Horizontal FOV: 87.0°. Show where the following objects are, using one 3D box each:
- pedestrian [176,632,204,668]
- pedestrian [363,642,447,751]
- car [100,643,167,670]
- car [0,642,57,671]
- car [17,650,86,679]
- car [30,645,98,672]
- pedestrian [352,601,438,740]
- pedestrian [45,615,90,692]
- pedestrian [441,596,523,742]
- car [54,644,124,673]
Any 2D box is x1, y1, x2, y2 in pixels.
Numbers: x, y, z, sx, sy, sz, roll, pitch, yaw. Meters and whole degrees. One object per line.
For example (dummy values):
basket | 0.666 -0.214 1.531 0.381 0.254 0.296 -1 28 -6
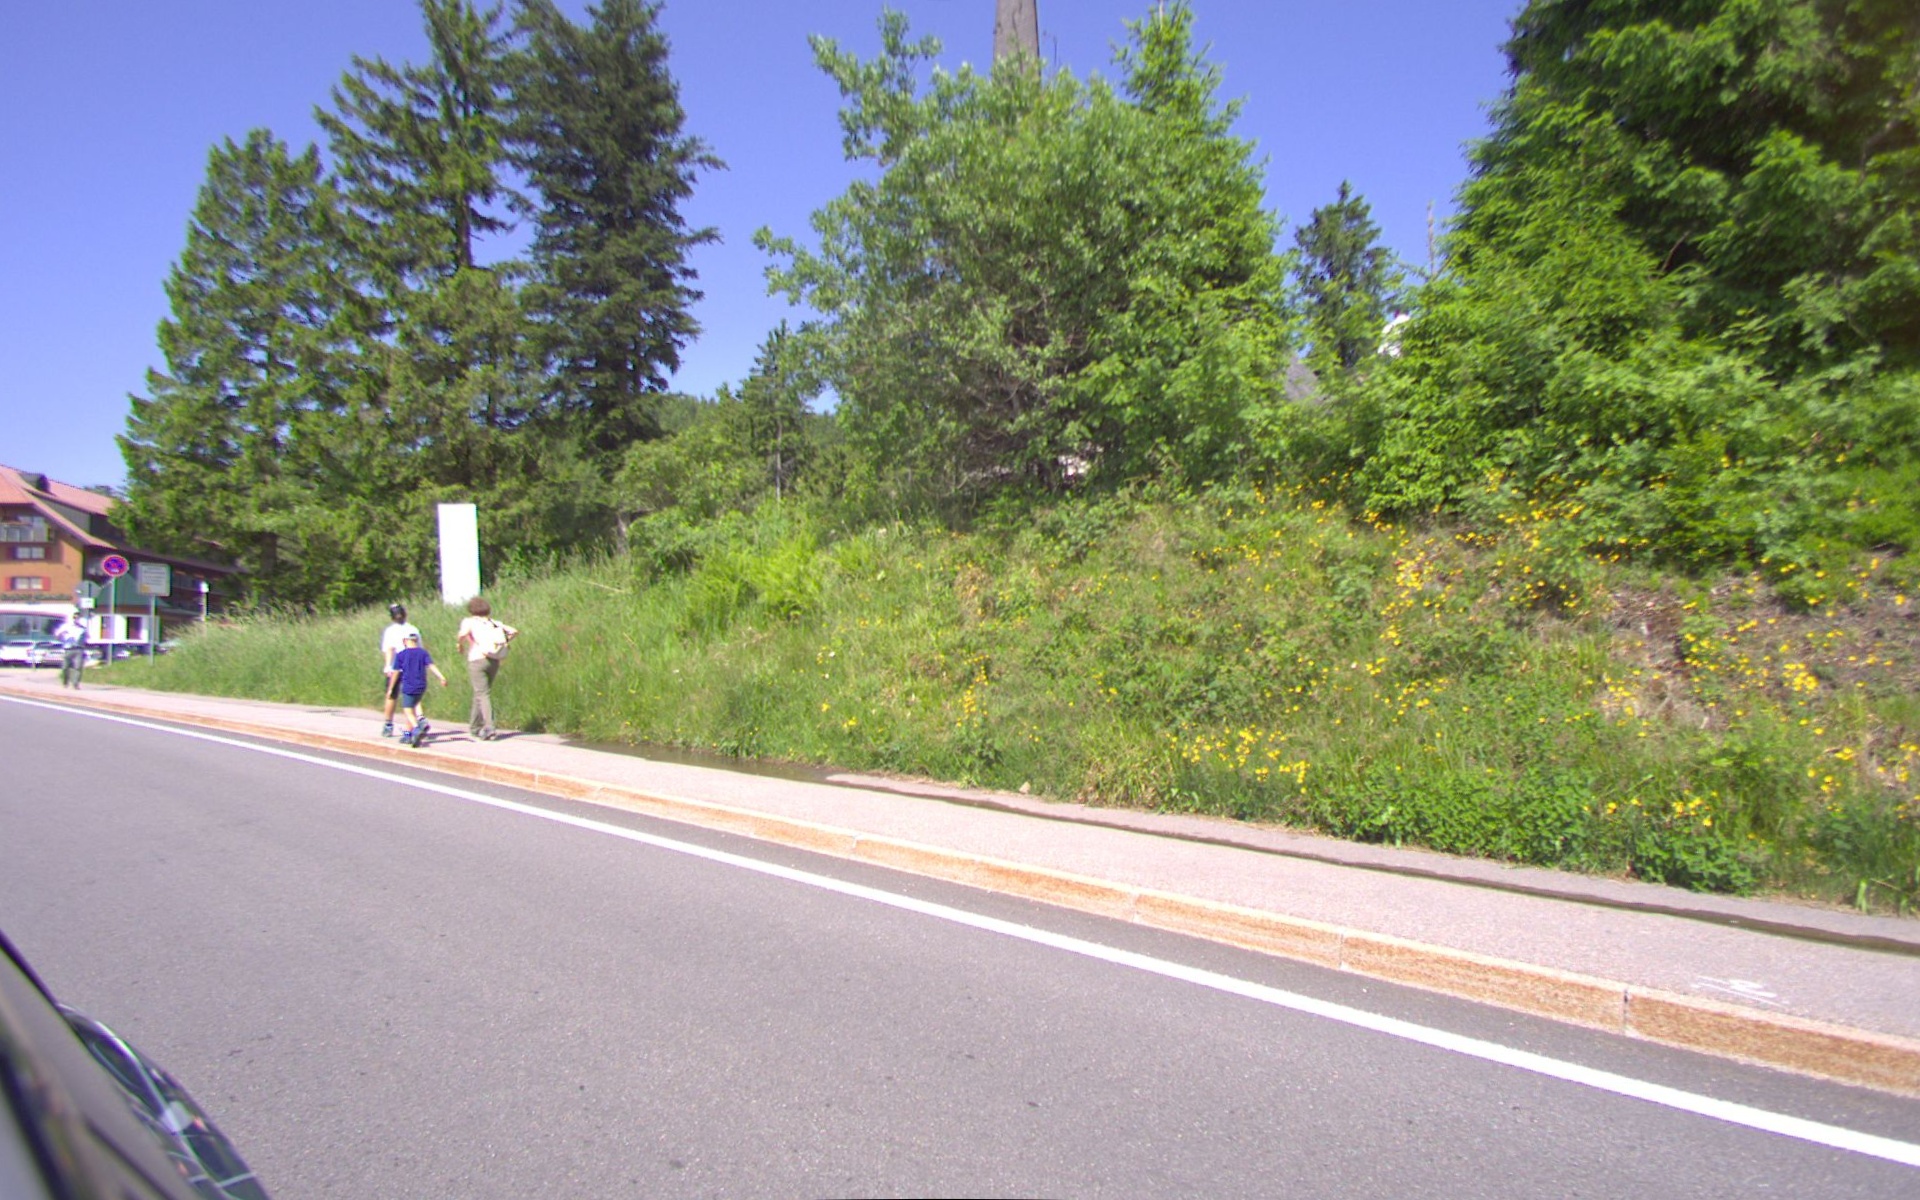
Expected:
pedestrian | -37.699 2.450 49.557 0.898 1.754 0.638 0 -2 -11
pedestrian | -5.991 1.016 10.920 0.744 1.110 0.562 -2 -3 41
car | -44.127 3.028 54.103 1.684 1.406 3.325 0 -3 -18
car | -55.163 3.299 59.609 1.686 1.564 3.143 0 -1 -16
car | -52.372 3.692 58.408 1.702 1.476 3.532 0 -1 -19
car | -49.714 3.242 56.239 1.613 1.445 3.325 0 -3 -18
pedestrian | -6.590 0.805 11.801 0.879 1.549 0.575 -2 -3 38
pedestrian | -20.752 1.227 23.532 0.684 1.755 0.575 -2 -3 32
pedestrian | -5.677 0.806 12.021 0.894 1.655 0.570 -2 -3 41
car | -47.049 3.134 54.751 1.689 1.445 3.325 0 -2 -18
